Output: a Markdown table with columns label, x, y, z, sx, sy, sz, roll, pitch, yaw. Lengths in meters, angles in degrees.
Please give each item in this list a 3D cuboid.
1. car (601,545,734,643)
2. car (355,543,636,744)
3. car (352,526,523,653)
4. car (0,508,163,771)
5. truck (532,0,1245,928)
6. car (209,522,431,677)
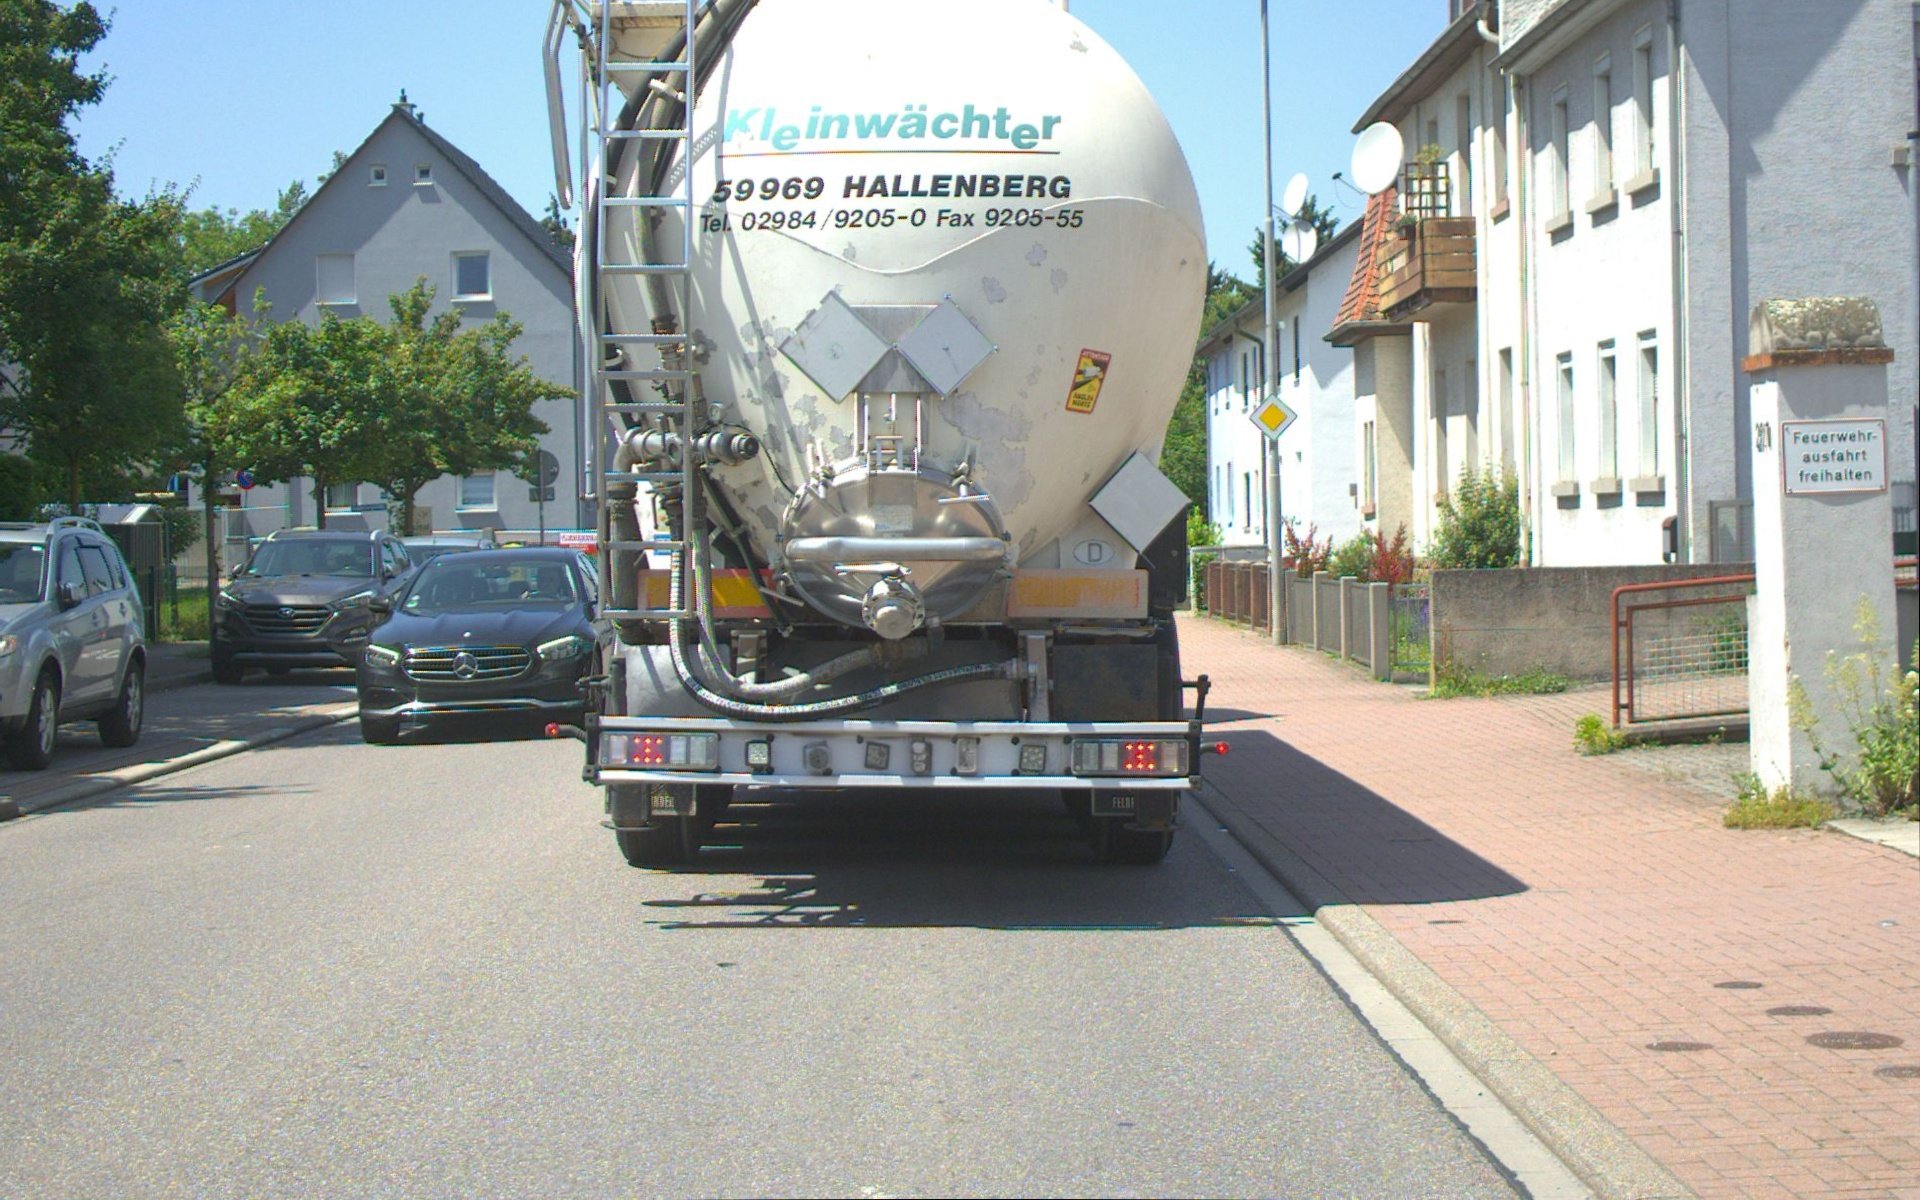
| label | x | y | z | sx | sy | sz | roll | pitch | yaw |
| --- | --- | --- | --- | --- | --- | --- | --- | --- | --- |
| car | -4.531 | -0.118 | 53.734 | 1.706 | 1.365 | 3.869 | -3 | 1 | 0 |
| car | -3.728 | 0.289 | 28.308 | 1.730 | 1.455 | 4.695 | -1 | 1 | -1 |
| car | -6.760 | -0.173 | 44.796 | 1.697 | 1.575 | 3.838 | 0 | 1 | -1 |
| car | -6.954 | 0.205 | 24.245 | 1.706 | 1.681 | 4.526 | 0 | 1 | -1 |
| truck | -0.393 | -0.886 | 17.617 | 2.641 | 4.002 | 9.562 | 0 | 1 | -2 |
| car | -6.996 | -0.043 | 37.917 | 1.691 | 1.614 | 3.997 | 0 | 1 | 0 |
